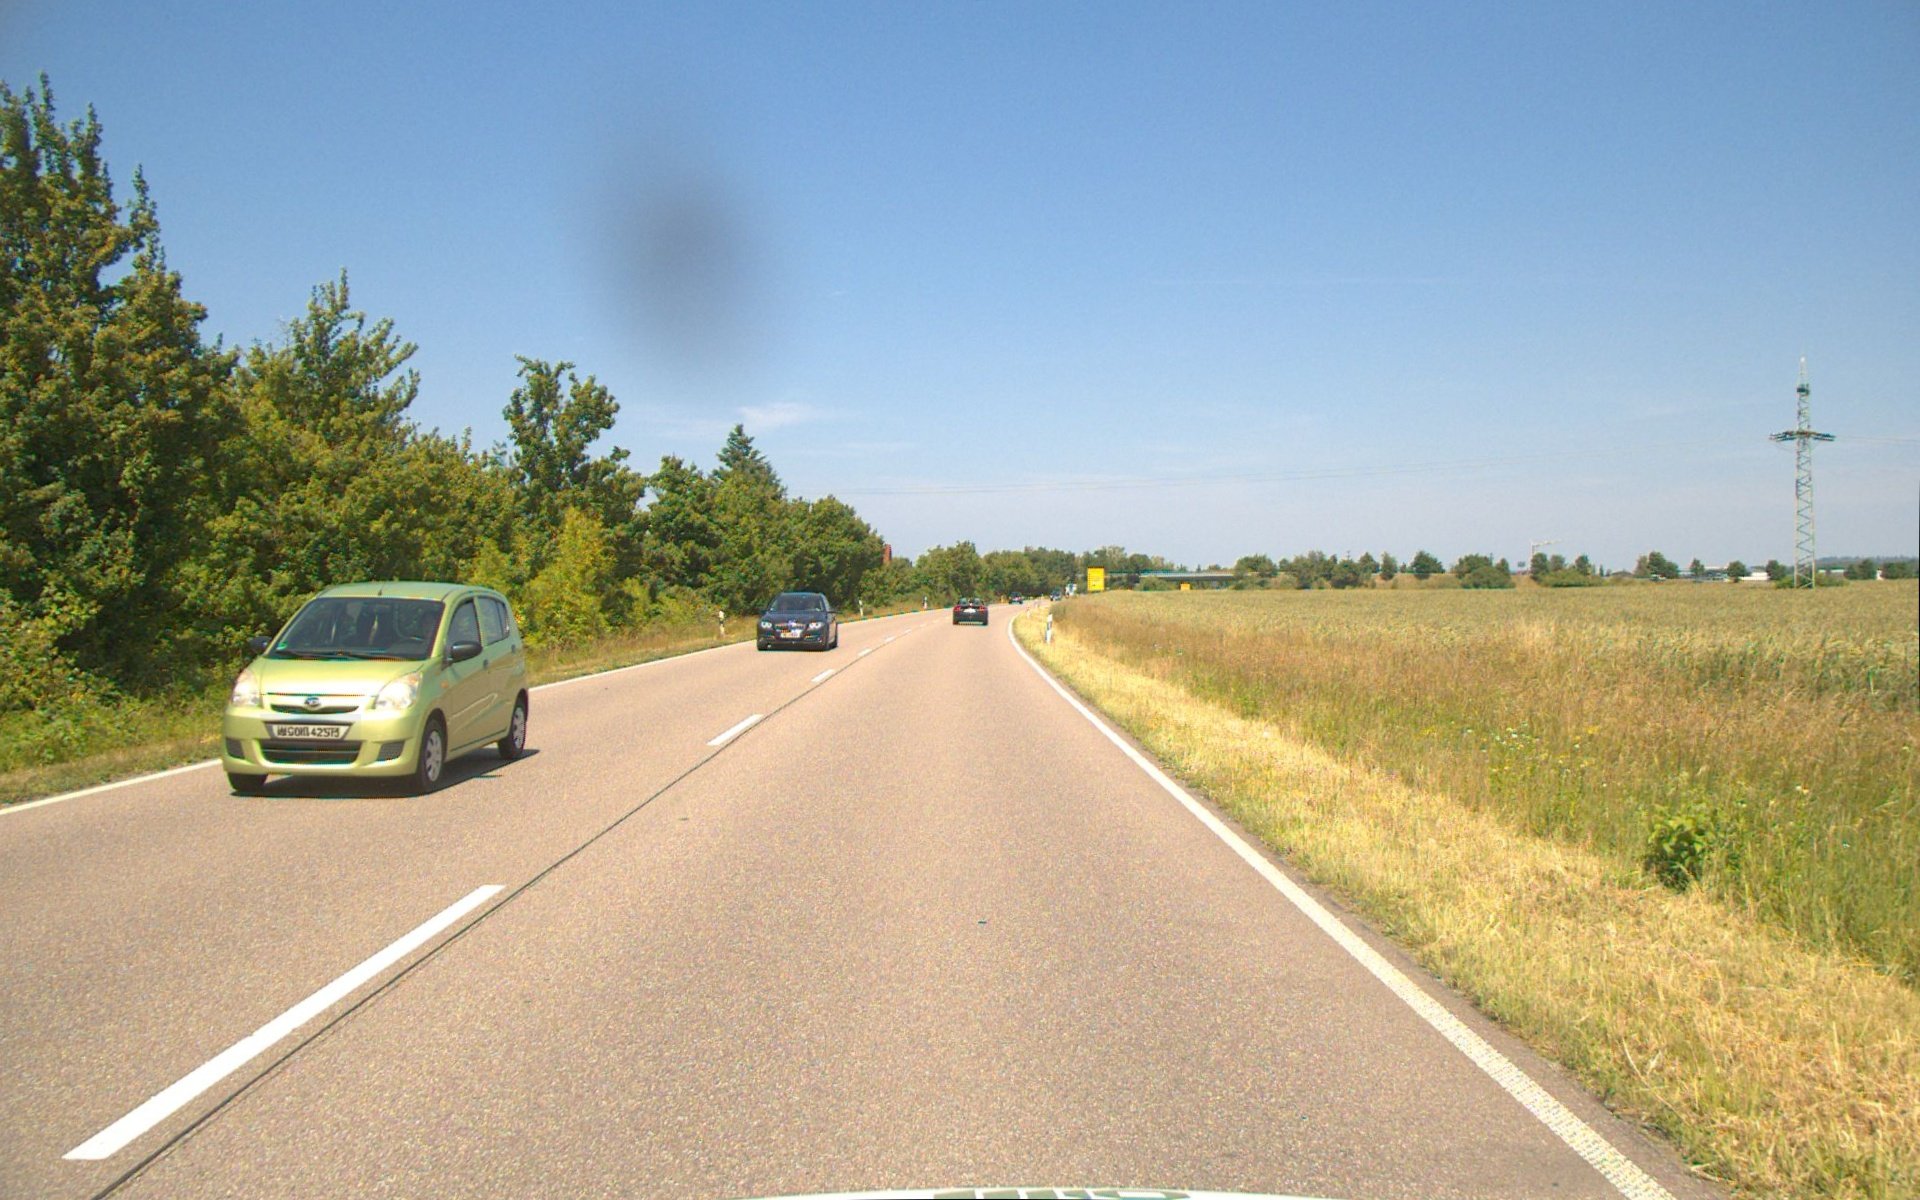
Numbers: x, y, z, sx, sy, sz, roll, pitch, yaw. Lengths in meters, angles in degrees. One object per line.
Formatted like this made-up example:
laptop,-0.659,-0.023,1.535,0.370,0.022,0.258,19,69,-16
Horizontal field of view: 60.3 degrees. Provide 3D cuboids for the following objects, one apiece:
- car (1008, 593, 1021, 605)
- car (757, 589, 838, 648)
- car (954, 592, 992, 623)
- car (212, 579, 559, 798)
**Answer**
car,7.518,-0.147,228.442,1.663,1.594,3.672,0,0,3
car,-4.257,0.459,43.885,1.764,1.476,4.532,1,0,-1
car,0.659,0.345,81.956,1.776,1.466,4.001,1,0,2
car,-4.496,0.613,13.520,1.466,1.521,3.832,1,0,0
